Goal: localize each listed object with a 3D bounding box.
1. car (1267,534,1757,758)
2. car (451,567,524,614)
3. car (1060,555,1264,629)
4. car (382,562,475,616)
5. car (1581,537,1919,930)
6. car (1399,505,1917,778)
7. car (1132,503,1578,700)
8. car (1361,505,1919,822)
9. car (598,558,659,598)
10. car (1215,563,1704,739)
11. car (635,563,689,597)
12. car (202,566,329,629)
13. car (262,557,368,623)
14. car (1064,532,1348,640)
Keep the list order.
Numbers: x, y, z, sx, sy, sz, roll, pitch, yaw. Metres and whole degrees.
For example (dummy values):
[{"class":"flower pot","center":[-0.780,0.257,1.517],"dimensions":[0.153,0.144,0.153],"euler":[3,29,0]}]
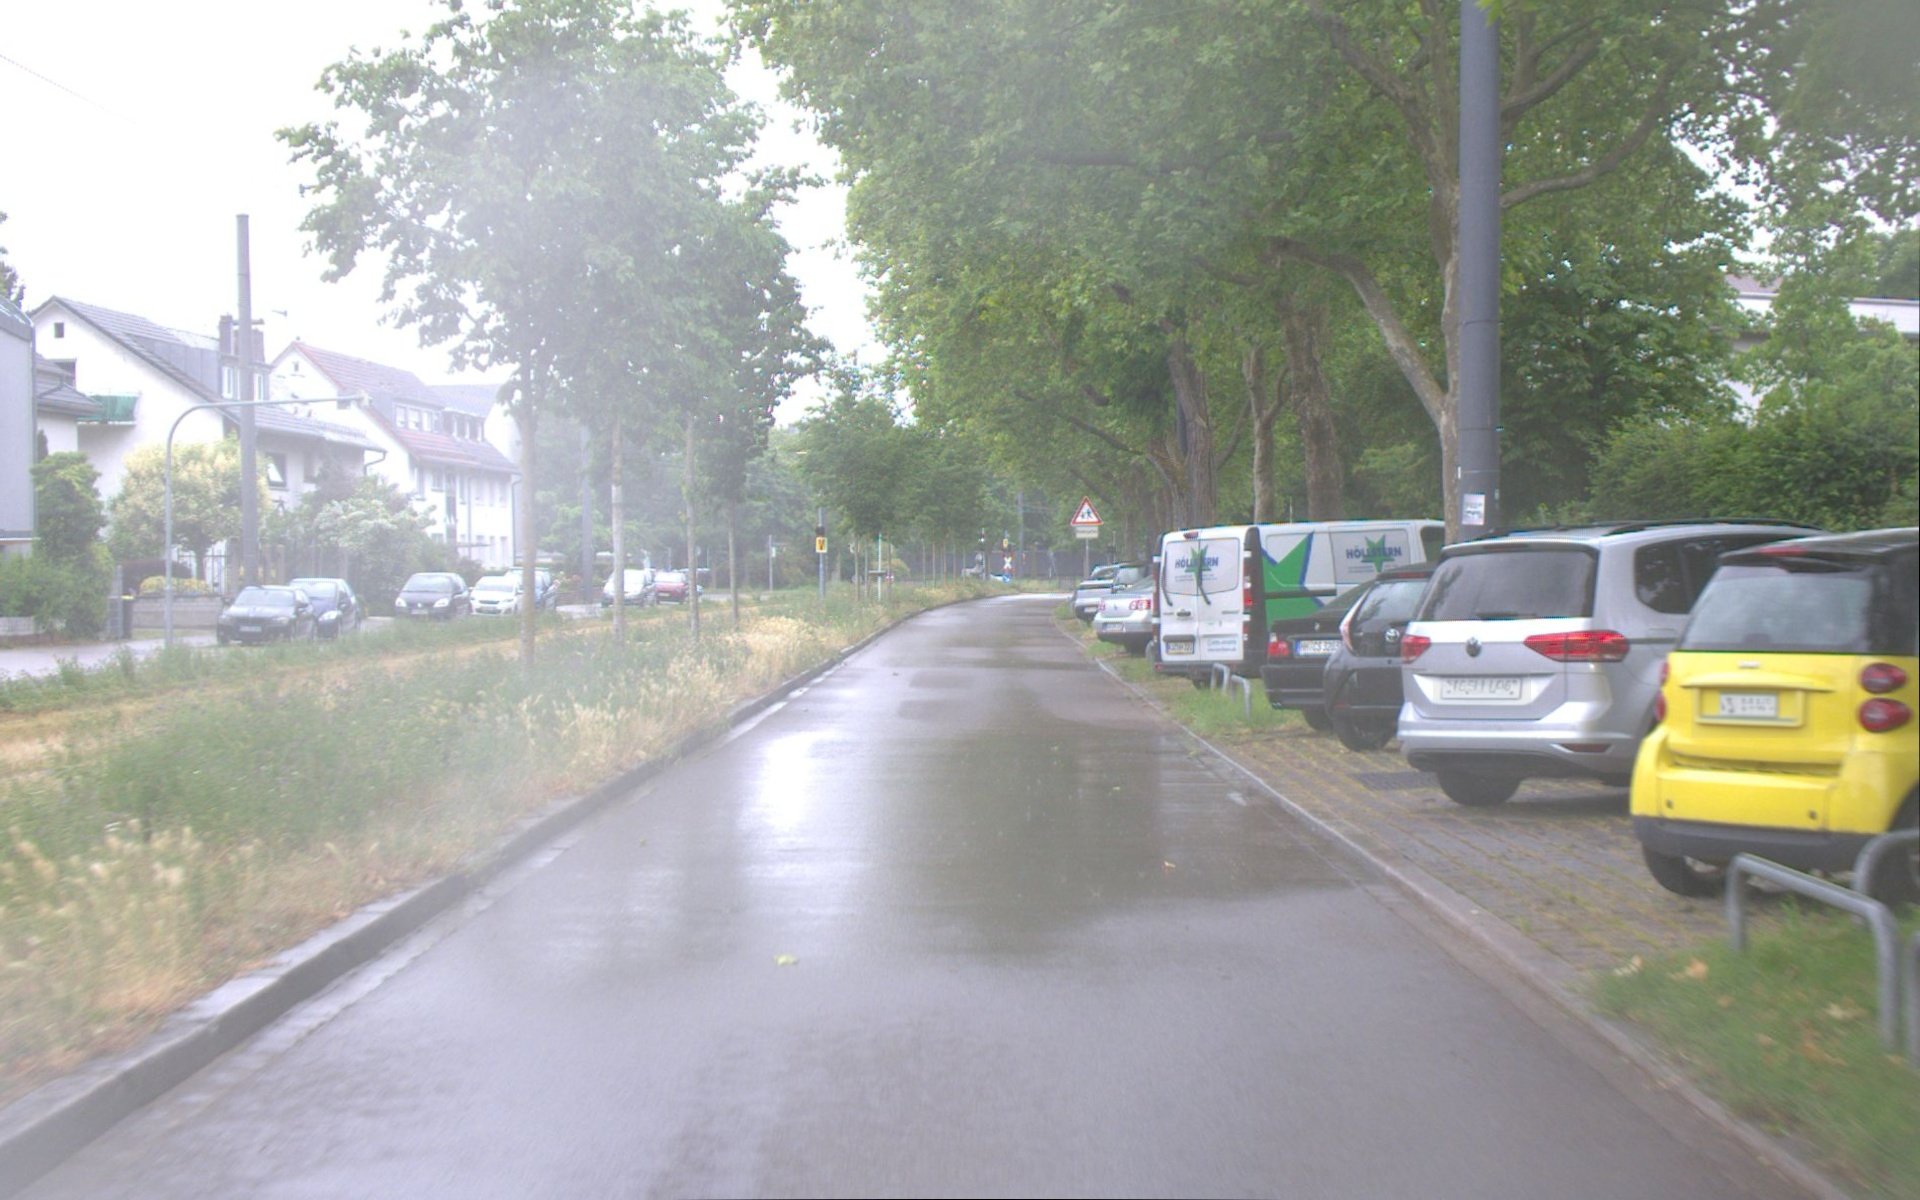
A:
[{"class":"car","center":[4.299,0.334,26.631],"dimensions":[3.394,1.513,1.850],"euler":[-3,1,-37]},{"class":"car","center":[-15.742,-0.325,114.657],"dimensions":[1.796,1.483,3.597],"euler":[1,1,2]},{"class":"car","center":[4.952,-0.206,83.992],"dimensions":[4.760,1.662,1.994],"euler":[-2,1,-36]},{"class":"car","center":[-15.901,-0.351,103.022],"dimensions":[1.993,1.511,4.205],"euler":[1,1,2]},{"class":"car","center":[4.276,0.460,14.335],"dimensions":[2.895,1.461,1.604],"euler":[-3,0,-28]},{"class":"car","center":[4.835,0.258,23.714],"dimensions":[3.265,1.666,1.592],"euler":[-3,0,-34]},{"class":"car","center":[4.635,-0.032,39.985],"dimensions":[5.014,2.006,2.000],"euler":[-3,2,-34]},{"class":"car","center":[4.448,0.312,20.376],"dimensions":[4.036,1.635,1.654],"euler":[-3,0,-38]},{"class":"car","center":[-13.990,-0.937,145.284],"dimensions":[1.993,1.575,4.517],"euler":[1,1,2]},{"class":"car","center":[4.377,0.392,29.778],"dimensions":[4.293,1.379,1.740],"euler":[-1,1,-39]},{"class":"car","center":[-13.761,-0.931,159.066],"dimensions":[1.993,1.483,4.205],"euler":[1,1,2]},{"class":"car","center":[-16.265,-0.079,80.715],"dimensions":[1.993,1.346,4.240],"euler":[1,1,2]},{"class":"car","center":[-16.036,-0.260,85.672],"dimensions":[1.874,1.545,3.870],"euler":[1,1,0]},{"class":"car","center":[4.248,-0.261,59.092],"dimensions":[4.546,1.539,1.888],"euler":[-4,2,-31]}]
